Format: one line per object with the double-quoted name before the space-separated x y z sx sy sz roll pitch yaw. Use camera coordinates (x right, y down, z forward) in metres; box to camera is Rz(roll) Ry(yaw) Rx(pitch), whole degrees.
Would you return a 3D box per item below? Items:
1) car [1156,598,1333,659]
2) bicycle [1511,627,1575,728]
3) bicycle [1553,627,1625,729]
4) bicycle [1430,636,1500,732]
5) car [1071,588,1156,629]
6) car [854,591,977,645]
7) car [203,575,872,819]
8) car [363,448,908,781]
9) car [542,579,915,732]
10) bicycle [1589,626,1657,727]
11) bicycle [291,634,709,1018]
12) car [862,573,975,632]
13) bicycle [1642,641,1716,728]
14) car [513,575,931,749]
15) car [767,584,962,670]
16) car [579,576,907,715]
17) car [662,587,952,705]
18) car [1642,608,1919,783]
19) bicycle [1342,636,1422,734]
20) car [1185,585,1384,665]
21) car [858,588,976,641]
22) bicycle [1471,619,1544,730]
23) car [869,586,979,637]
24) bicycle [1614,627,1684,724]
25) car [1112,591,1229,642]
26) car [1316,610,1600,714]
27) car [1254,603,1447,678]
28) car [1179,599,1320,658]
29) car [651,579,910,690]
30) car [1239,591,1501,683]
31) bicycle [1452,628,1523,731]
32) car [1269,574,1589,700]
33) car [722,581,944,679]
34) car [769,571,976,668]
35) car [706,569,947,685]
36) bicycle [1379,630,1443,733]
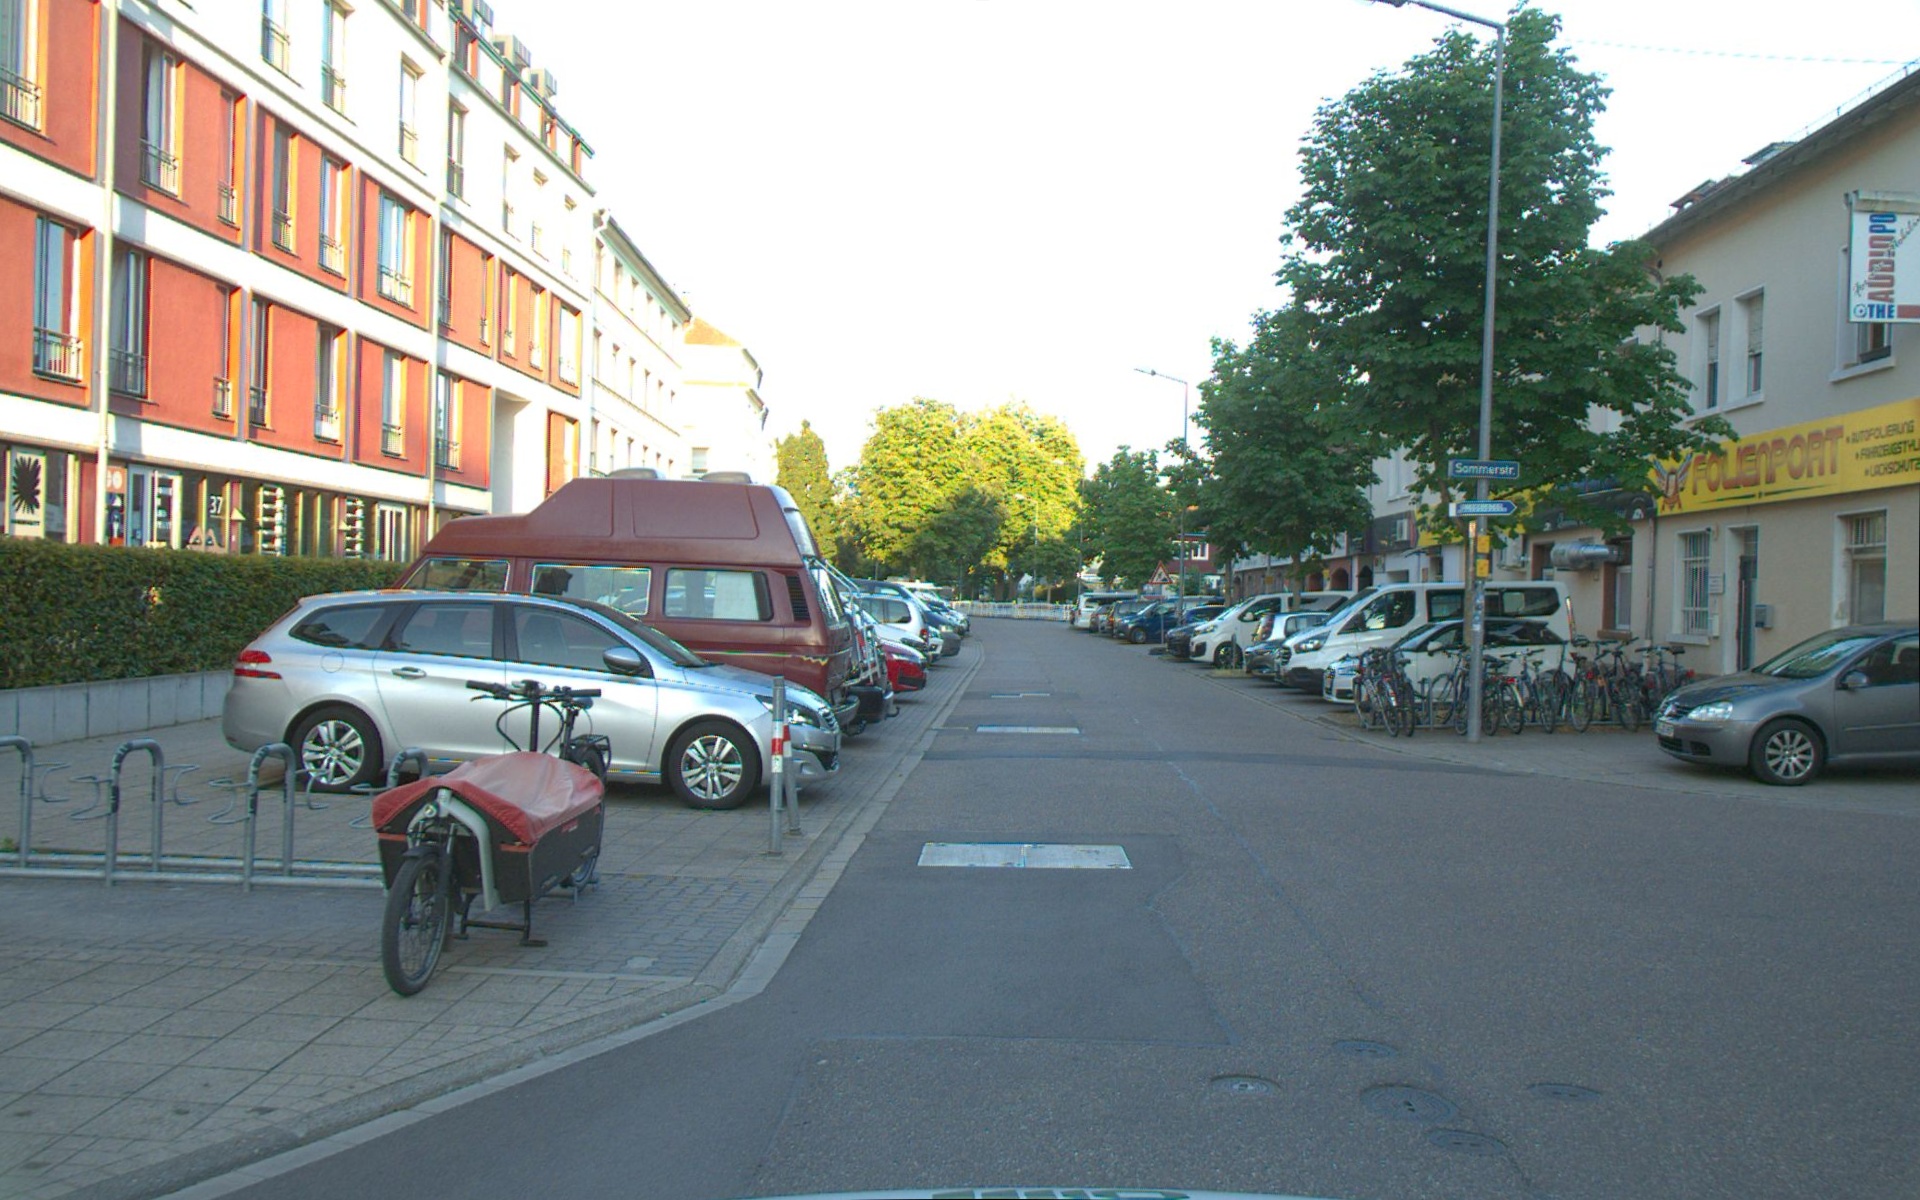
"car" 8.263 0.817 48.329 4.842 1.718 2.077 -1 0 1
"bicycle" 7.442 0.964 21.156 0.377 1.221 1.482 0 0 3
"bicycle" 8.006 0.971 21.096 0.435 1.221 1.482 0 0 3
"bicycle" 6.502 1.055 21.363 0.377 1.133 2.018 0 0 3
"car" 7.535 0.403 81.440 3.888 1.945 2.048 -1 0 -2
"car" -1.530 0.623 58.517 4.169 1.650 2.000 3 0 2
"car" -3.008 0.681 12.551 4.522 1.485 1.880 3 0 -1
"car" -2.840 0.109 15.181 4.417 2.629 2.001 3 0 4
"car" -2.778 0.638 20.319 4.120 1.565 1.843 3 0 8
"bicycle" 8.426 0.949 21.066 0.345 1.221 1.482 0 0 3
"bicycle" -1.838 0.821 7.242 0.791 1.242 2.867 3 0 4
"car" -1.703 0.109 68.692 4.439 2.171 2.001 3 0 3
"bicycle" 9.181 1.062 21.155 0.379 1.035 1.482 0 0 3
"car" -2.442 0.629 17.732 4.123 1.565 1.791 3 0 1
"car" -2.114 0.599 37.604 4.168 1.681 1.888 3 0 3
"car" -2.868 0.595 22.586 4.123 1.603 2.000 3 0 1
"car" -2.268 0.675 25.343 4.121 1.515 1.850 3 0 3
"car" 8.942 0.881 16.004 3.965 1.540 1.757 0 2 3
"bicycle" 5.388 1.054 21.198 0.429 1.150 2.016 0 0 -3
"car" 8.456 0.634 43.417 4.842 1.992 2.049 -1 0 1
"car" -1.569 0.530 61.265 4.168 1.744 2.001 3 0 3
"bicycle" 7.039 0.928 21.333 0.377 1.327 2.018 0 0 3
"car" -1.403 0.443 66.037 4.168 1.780 2.001 3 0 3
"bicycle" 8.783 0.944 21.129 0.345 1.163 1.482 0 0 3
"car" 8.361 0.645 65.925 4.389 1.945 1.687 -1 0 -2
"car" 7.578 0.926 25.442 3.838 1.477 1.768 -1 0 0
"car" 8.475 0.871 36.179 3.829 1.553 1.940 -1 0 3
"car" 9.268 0.911 53.199 4.227 1.835 1.811 -1 0 1
"car" -3.005 0.569 28.366 4.123 1.644 2.000 3 0 1
"car" 8.198 0.731 33.453 4.840 1.773 2.050 -1 0 3
"bicycle" 6.782 0.991 21.336 0.377 1.221 2.018 0 0 3
"car" 7.880 0.607 28.220 4.885 2.018 2.220 -1 0 3
"car" -2.490 0.583 33.260 4.168 1.689 2.001 3 0 3
"car" -2.067 0.454 40.161 4.750 2.056 1.907 3 0 3
"car" -2.419 0.479 30.780 4.168 1.868 2.001 3 0 3
"bicycle" 5.806 1.024 21.365 0.377 1.221 2.018 0 0 3
